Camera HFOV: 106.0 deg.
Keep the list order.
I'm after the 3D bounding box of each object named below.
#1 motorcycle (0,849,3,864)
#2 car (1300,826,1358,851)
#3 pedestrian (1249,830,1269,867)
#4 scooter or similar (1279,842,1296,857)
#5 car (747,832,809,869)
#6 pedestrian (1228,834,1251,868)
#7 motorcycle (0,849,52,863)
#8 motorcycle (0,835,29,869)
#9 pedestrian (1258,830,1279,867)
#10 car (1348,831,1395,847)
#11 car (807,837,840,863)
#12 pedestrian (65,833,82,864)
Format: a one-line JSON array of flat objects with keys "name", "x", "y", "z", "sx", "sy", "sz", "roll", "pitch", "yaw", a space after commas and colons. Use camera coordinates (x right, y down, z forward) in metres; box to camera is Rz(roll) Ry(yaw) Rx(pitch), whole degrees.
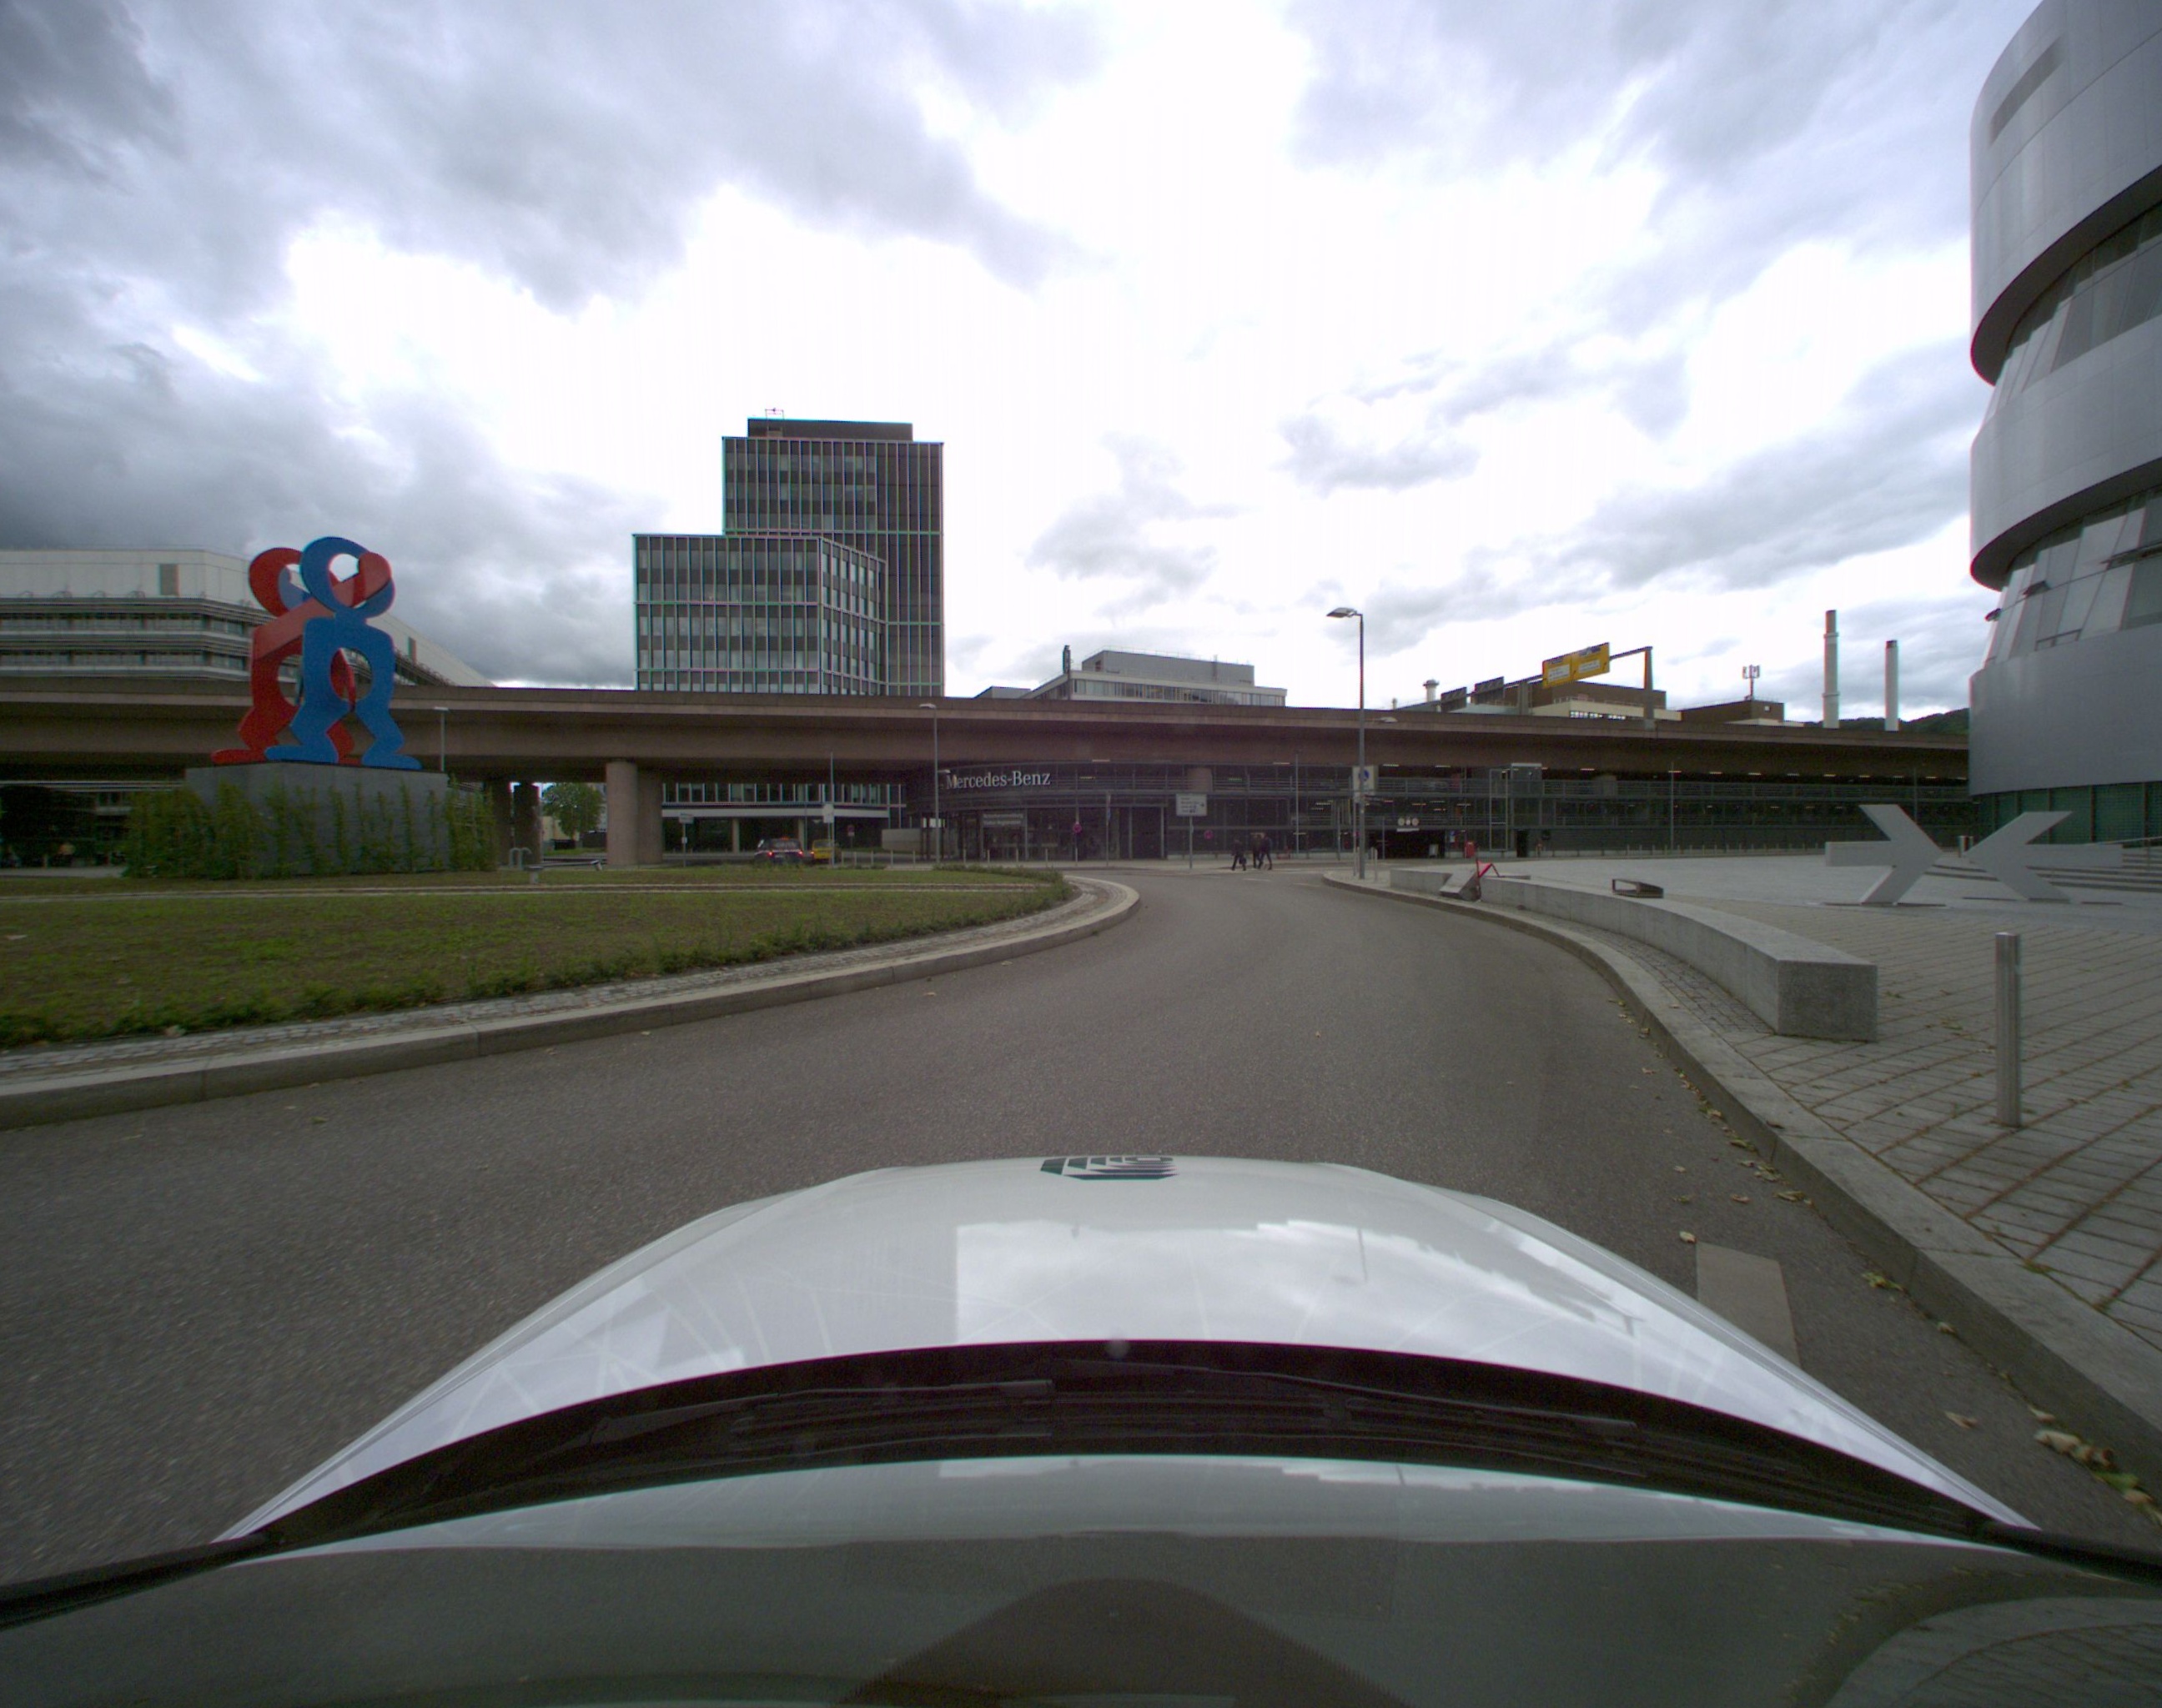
[{"name": "motorcycle", "x": -85.015, "y": 0.181, "z": 62.583, "sx": 2.650, "sy": 1.112, "sz": 1.037, "roll": 0, "pitch": 0, "yaw": -7}, {"name": "car", "x": 19.746, "y": -1.247, "z": 64.812, "sx": 3.989, "sy": 1.903, "sz": 1.992, "roll": 0, "pitch": 1, "yaw": -12}, {"name": "pedestrian", "x": 8.443, "y": -0.255, "z": 38.651, "sx": 0.828, "sy": 1.740, "sz": 0.690, "roll": 0, "pitch": 0, "yaw": 0}, {"name": "scooter or similar", "x": 15.495, "y": -0.337, "z": 61.213, "sx": 1.231, "sy": 1.194, "sz": 0.354, "roll": 0, "pitch": 0, "yaw": -13}, {"name": "car", "x": -17.372, "y": -0.193, "z": 46.542, "sx": 2.292, "sy": 2.013, "sz": 4.733, "roll": 0, "pitch": 0, "yaw": -34}, {"name": "pedestrian", "x": 7.406, "y": -0.156, "z": 38.113, "sx": 0.832, "sy": 1.570, "sz": 0.687, "roll": 0, "pitch": 0, "yaw": -15}, {"name": "motorcycle", "x": -85.094, "y": 0.160, "z": 65.647, "sx": 2.650, "sy": 1.112, "sz": 1.037, "roll": 0, "pitch": 0, "yaw": -7}, {"name": "motorcycle", "x": -40.568, "y": -0.075, "z": 30.376, "sx": 0.670, "sy": 1.251, "sz": 1.874, "roll": 0, "pitch": 0, "yaw": -17}, {"name": "pedestrian", "x": 9.039, "y": -0.254, "z": 39.243, "sx": 0.829, "sy": 1.740, "sz": 0.689, "roll": 0, "pitch": 0, "yaw": -4}, {"name": "car", "x": 29.046, "y": -1.488, "z": 81.464, "sx": 3.989, "sy": 1.574, "sz": 1.992, "roll": 0, "pitch": 1, "yaw": -12}, {"name": "car", "x": -21.018, "y": -0.340, "z": 66.633, "sx": 1.994, "sy": 2.013, "sz": 3.986, "roll": 0, "pitch": 0, "yaw": -10}, {"name": "pedestrian", "x": -66.287, "y": -0.347, "z": 53.566, "sx": 0.593, "sy": 2.013, "sz": 0.592, "roll": 0, "pitch": 0, "yaw": -39}]
